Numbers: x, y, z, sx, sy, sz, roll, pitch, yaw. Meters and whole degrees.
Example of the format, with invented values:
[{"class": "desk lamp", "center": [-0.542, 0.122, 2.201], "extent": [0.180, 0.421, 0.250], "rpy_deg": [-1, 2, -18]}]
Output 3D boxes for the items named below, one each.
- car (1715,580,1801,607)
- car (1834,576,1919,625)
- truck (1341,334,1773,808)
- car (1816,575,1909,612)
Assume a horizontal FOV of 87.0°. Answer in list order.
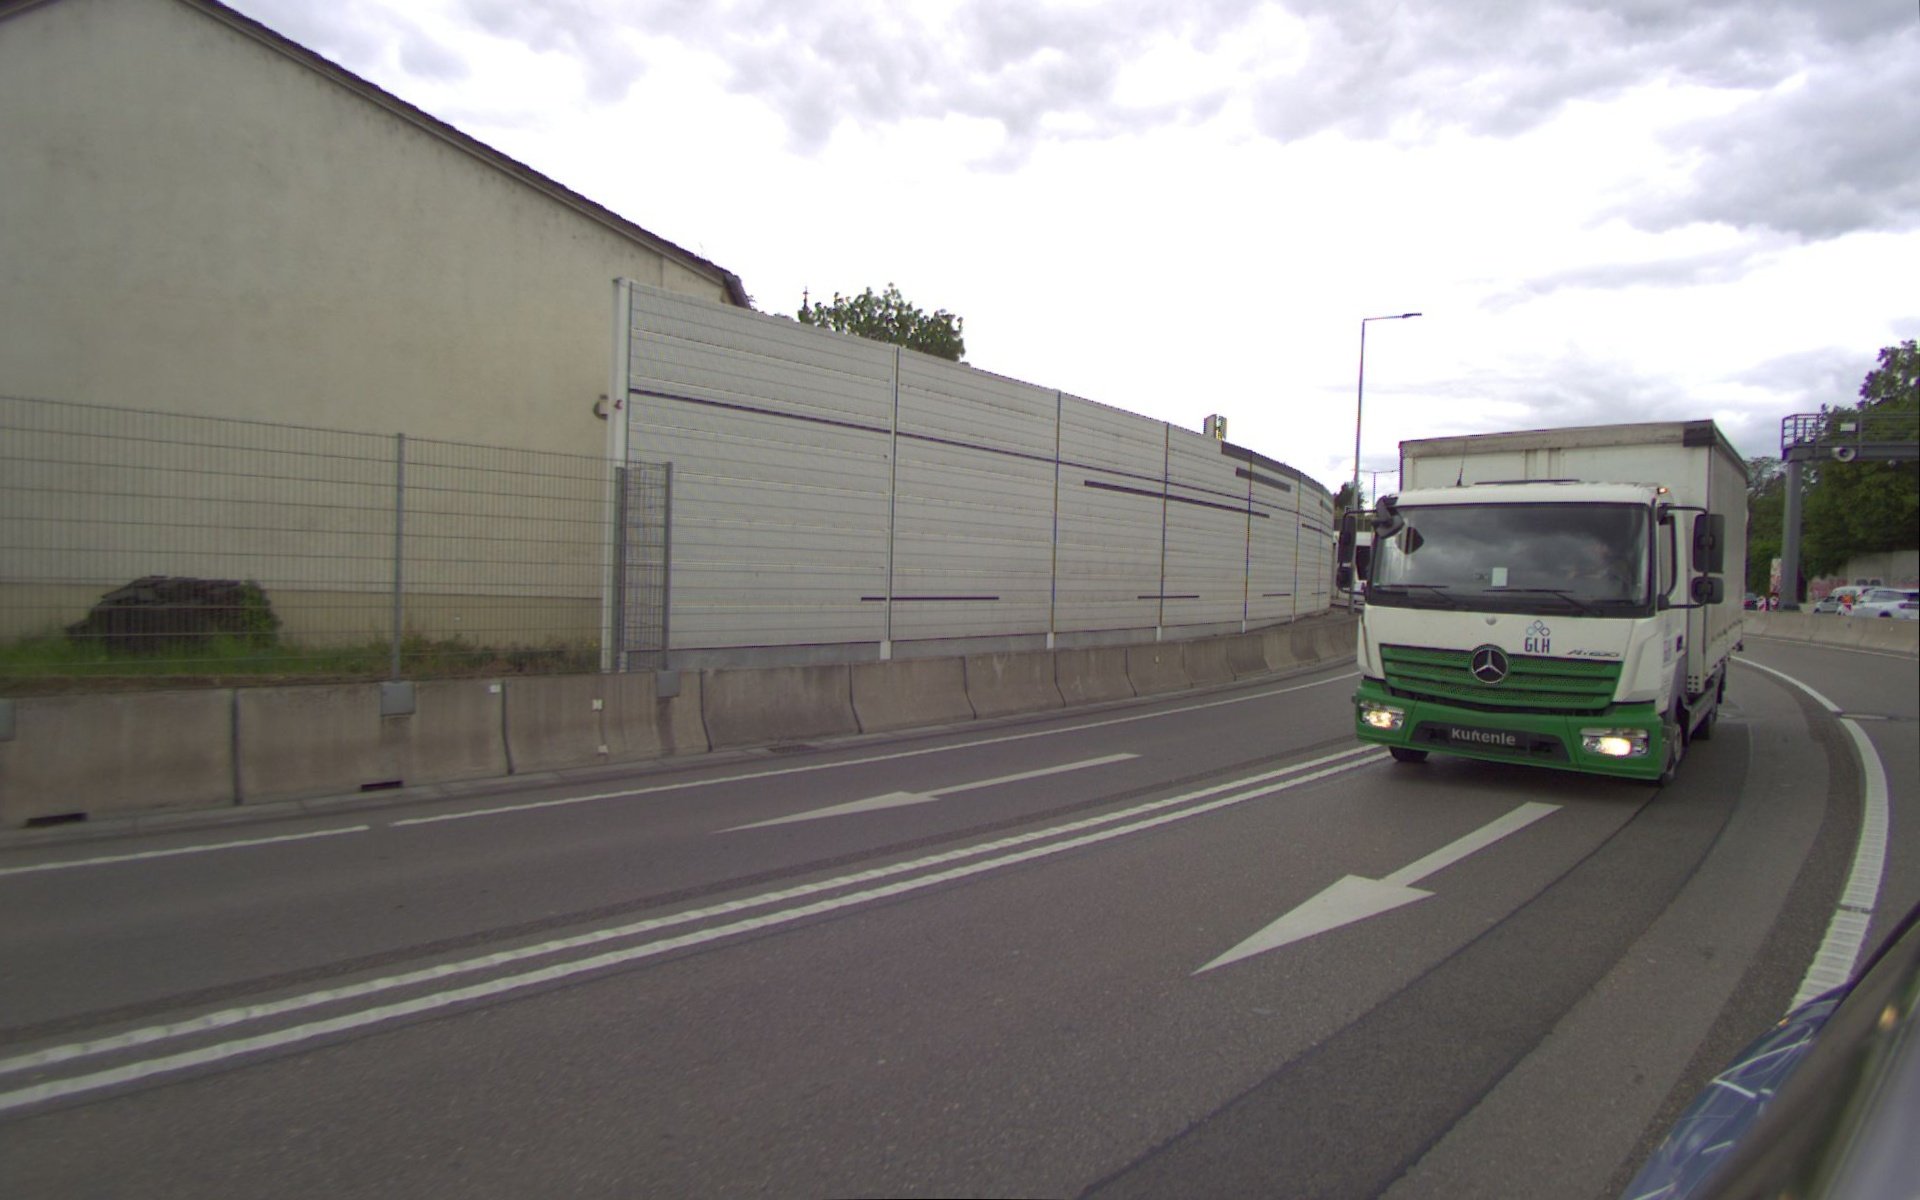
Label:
[{"class": "car", "center": [46.251, -0.409, 58.806], "extent": [1.968, 1.507, 4.574], "rpy_deg": [1, 1, 11]}, {"class": "car", "center": [32.073, -0.003, 34.128], "extent": [2.077, 1.571, 5.112], "rpy_deg": [0, 0, 18]}, {"class": "truck", "center": [6.686, -0.214, 10.651], "extent": [2.627, 3.280, 7.306], "rpy_deg": [-1, -1, 41]}, {"class": "car", "center": [44.531, -0.346, 50.044], "extent": [1.975, 1.707, 4.231], "rpy_deg": [1, 1, 20]}]
